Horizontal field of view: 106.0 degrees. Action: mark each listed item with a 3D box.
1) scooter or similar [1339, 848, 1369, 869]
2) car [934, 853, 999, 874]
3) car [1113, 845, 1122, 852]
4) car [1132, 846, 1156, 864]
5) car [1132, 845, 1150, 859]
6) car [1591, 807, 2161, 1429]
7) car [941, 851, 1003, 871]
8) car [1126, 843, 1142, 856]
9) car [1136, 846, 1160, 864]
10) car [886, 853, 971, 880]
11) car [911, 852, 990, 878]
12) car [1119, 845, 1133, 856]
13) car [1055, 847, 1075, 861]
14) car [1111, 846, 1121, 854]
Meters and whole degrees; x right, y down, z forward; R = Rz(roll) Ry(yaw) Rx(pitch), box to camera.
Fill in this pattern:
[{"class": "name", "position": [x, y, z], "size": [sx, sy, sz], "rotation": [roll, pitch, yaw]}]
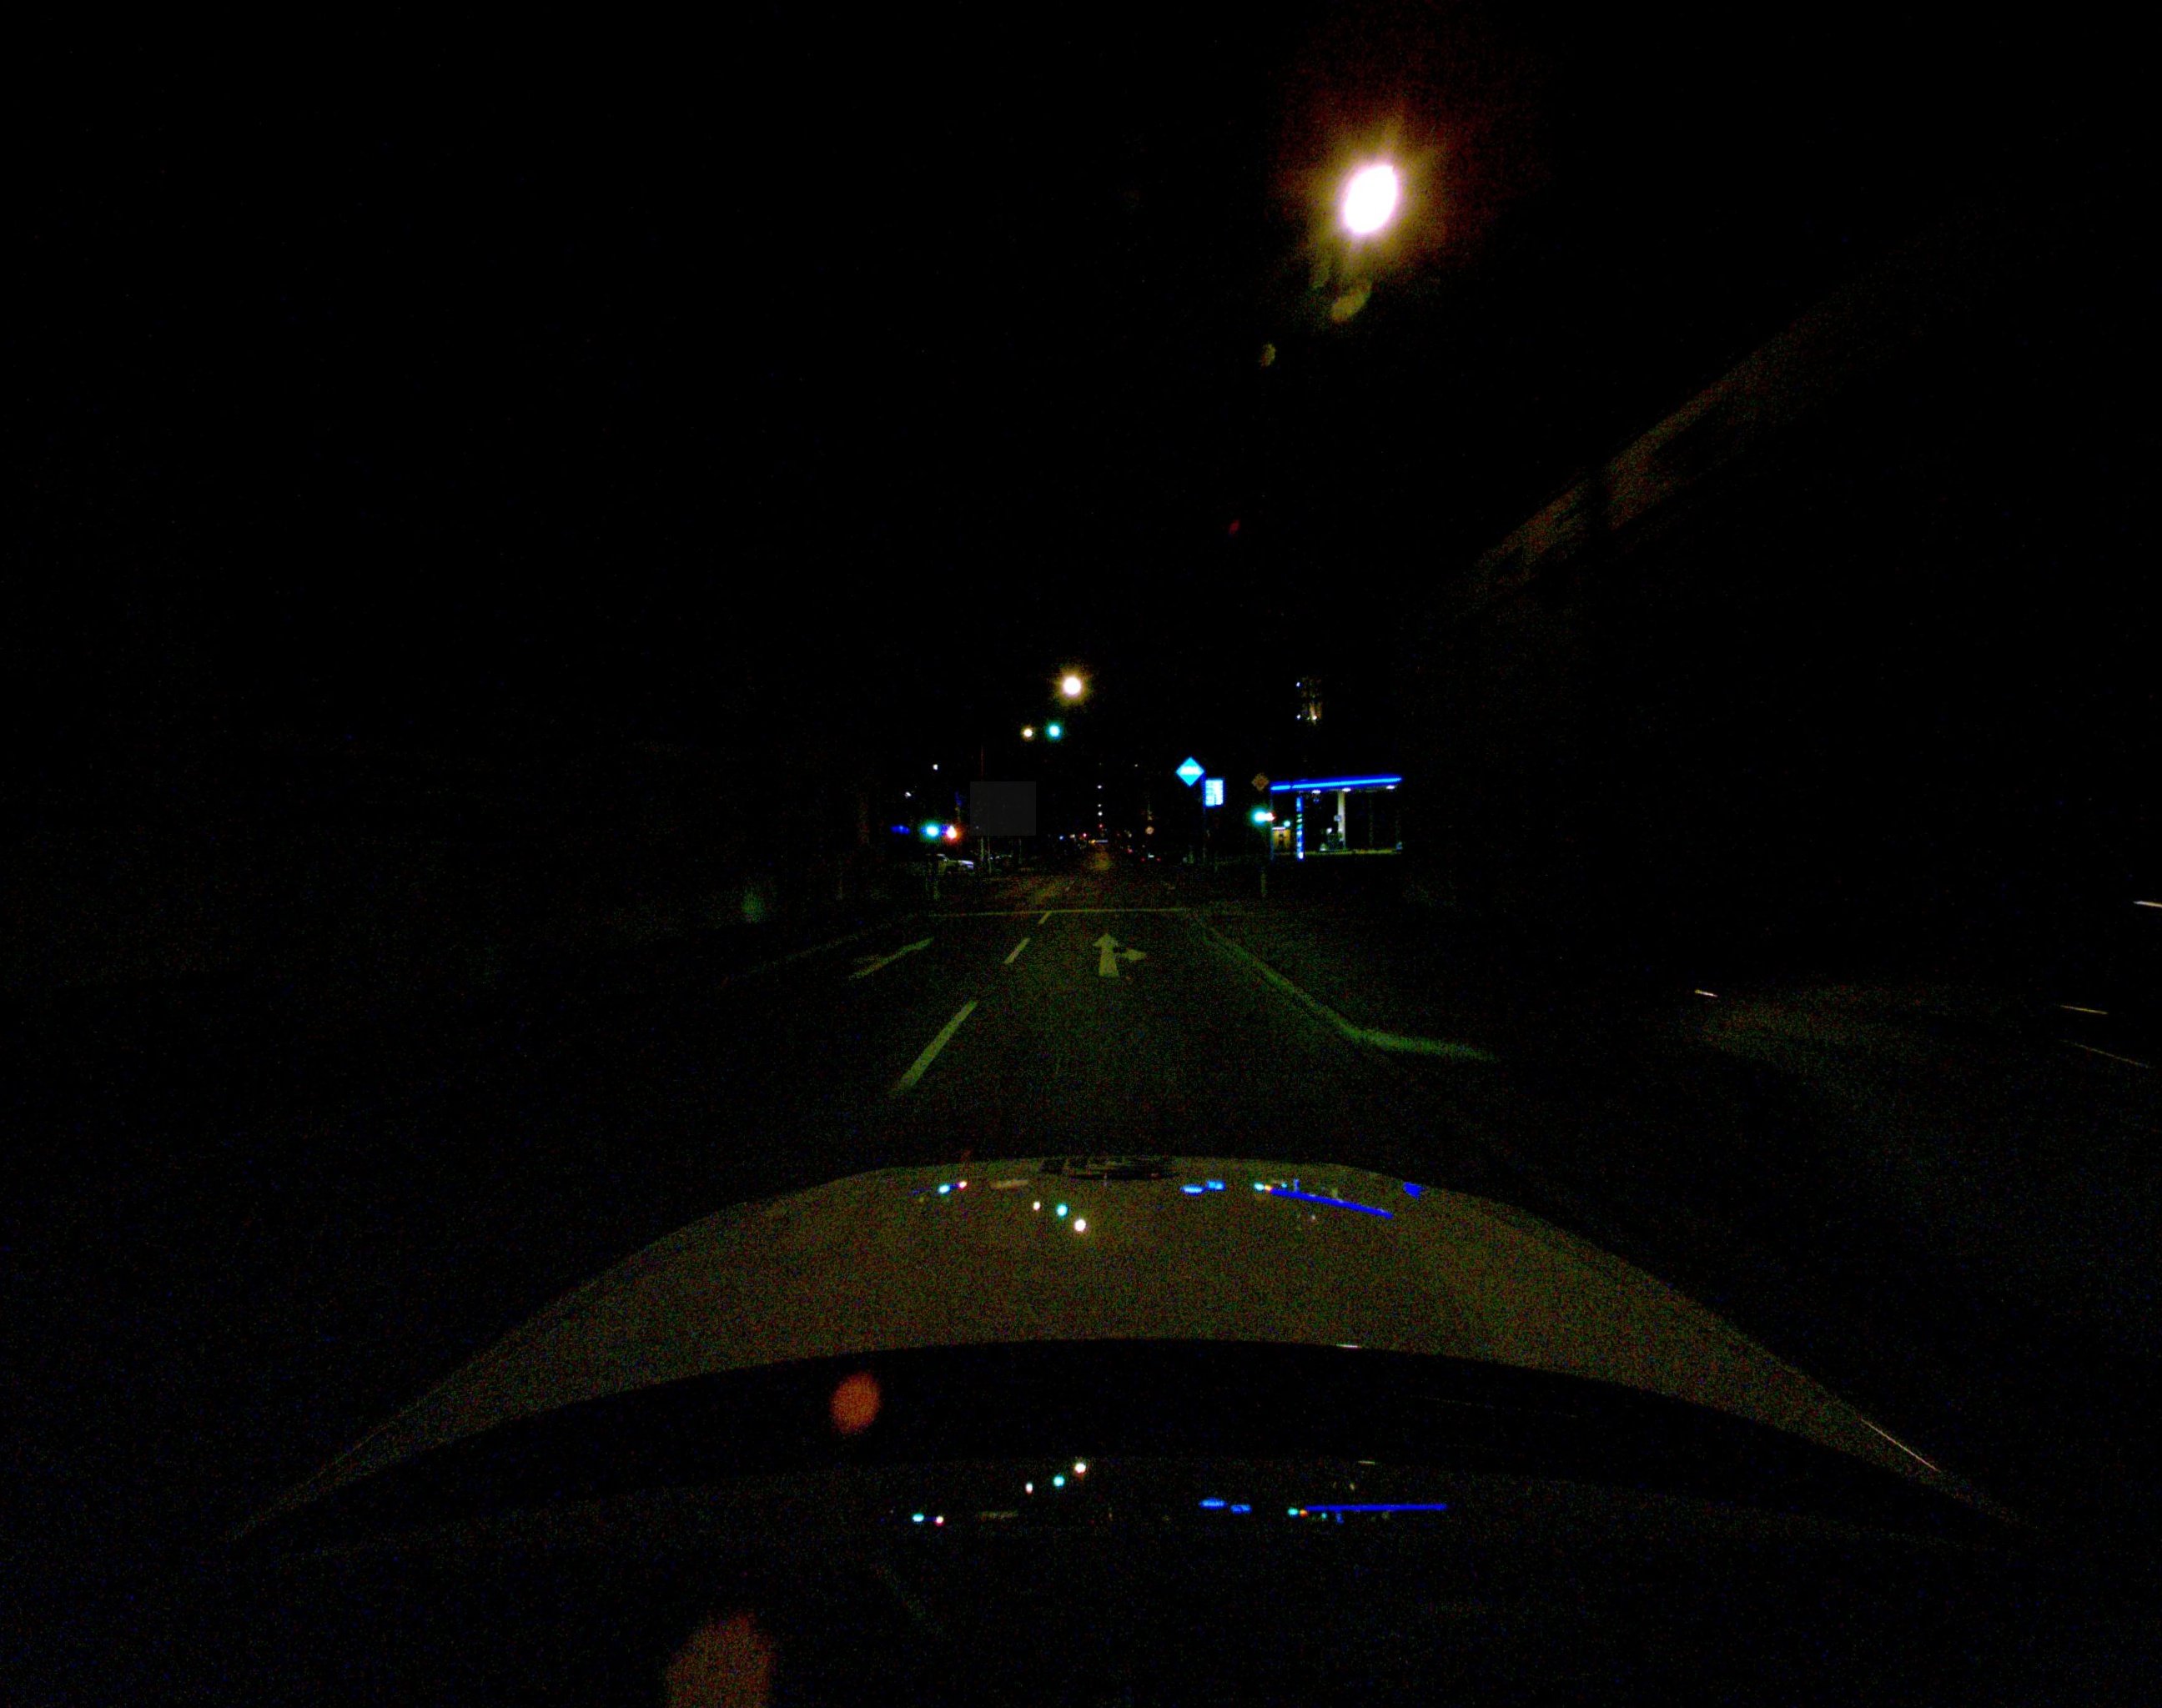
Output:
[{"class": "scooter or similar", "position": [15.122, 0.225, 45.137], "size": [1.688, 1.092, 0.709], "rotation": [-3, 1, -36]}, {"class": "car", "position": [-8.344, 0.689, 59.839], "size": [4.423, 1.449, 2.000], "rotation": [-1, 0, 1]}, {"class": "car", "position": [8.481, -1.364, 189.207], "size": [1.985, 1.520, 4.003], "rotation": [-1, 0, 3]}, {"class": "car", "position": [5.821, 0.092, 75.378], "size": [1.987, 1.595, 4.000], "rotation": [0, 1, 0]}, {"class": "car", "position": [6.846, -0.259, 93.623], "size": [1.985, 1.520, 4.003], "rotation": [-1, 0, 3]}, {"class": "car", "position": [3.503, 0.616, 1.802], "size": [1.854, 1.489, 4.544], "rotation": [-1, 0, -1]}, {"class": "car", "position": [-8.352, 0.512, 62.699], "size": [4.423, 1.449, 2.000], "rotation": [-1, 0, 1]}, {"class": "car", "position": [6.543, -0.570, 100.766], "size": [1.985, 1.520, 4.003], "rotation": [-1, 0, 3]}, {"class": "car", "position": [5.719, 0.051, 69.969], "size": [1.985, 1.516, 4.004], "rotation": [0, 1, 3]}, {"class": "car", "position": [-8.594, 0.691, 46.185], "size": [4.423, 1.449, 2.000], "rotation": [-1, 0, 1]}, {"class": "car", "position": [-7.872, 0.650, 49.319], "size": [4.424, 1.449, 2.000], "rotation": [-1, 0, 0]}, {"class": "car", "position": [6.555, -0.449, 118.188], "size": [1.985, 1.520, 4.003], "rotation": [-1, 0, 3]}, {"class": "car", "position": [-1.703, 0.025, 88.529], "size": [1.986, 1.502, 4.001], "rotation": [-1, 0, 2]}, {"class": "car", "position": [7.096, -0.827, 166.029], "size": [1.985, 1.520, 4.003], "rotation": [-1, 0, 3]}]
